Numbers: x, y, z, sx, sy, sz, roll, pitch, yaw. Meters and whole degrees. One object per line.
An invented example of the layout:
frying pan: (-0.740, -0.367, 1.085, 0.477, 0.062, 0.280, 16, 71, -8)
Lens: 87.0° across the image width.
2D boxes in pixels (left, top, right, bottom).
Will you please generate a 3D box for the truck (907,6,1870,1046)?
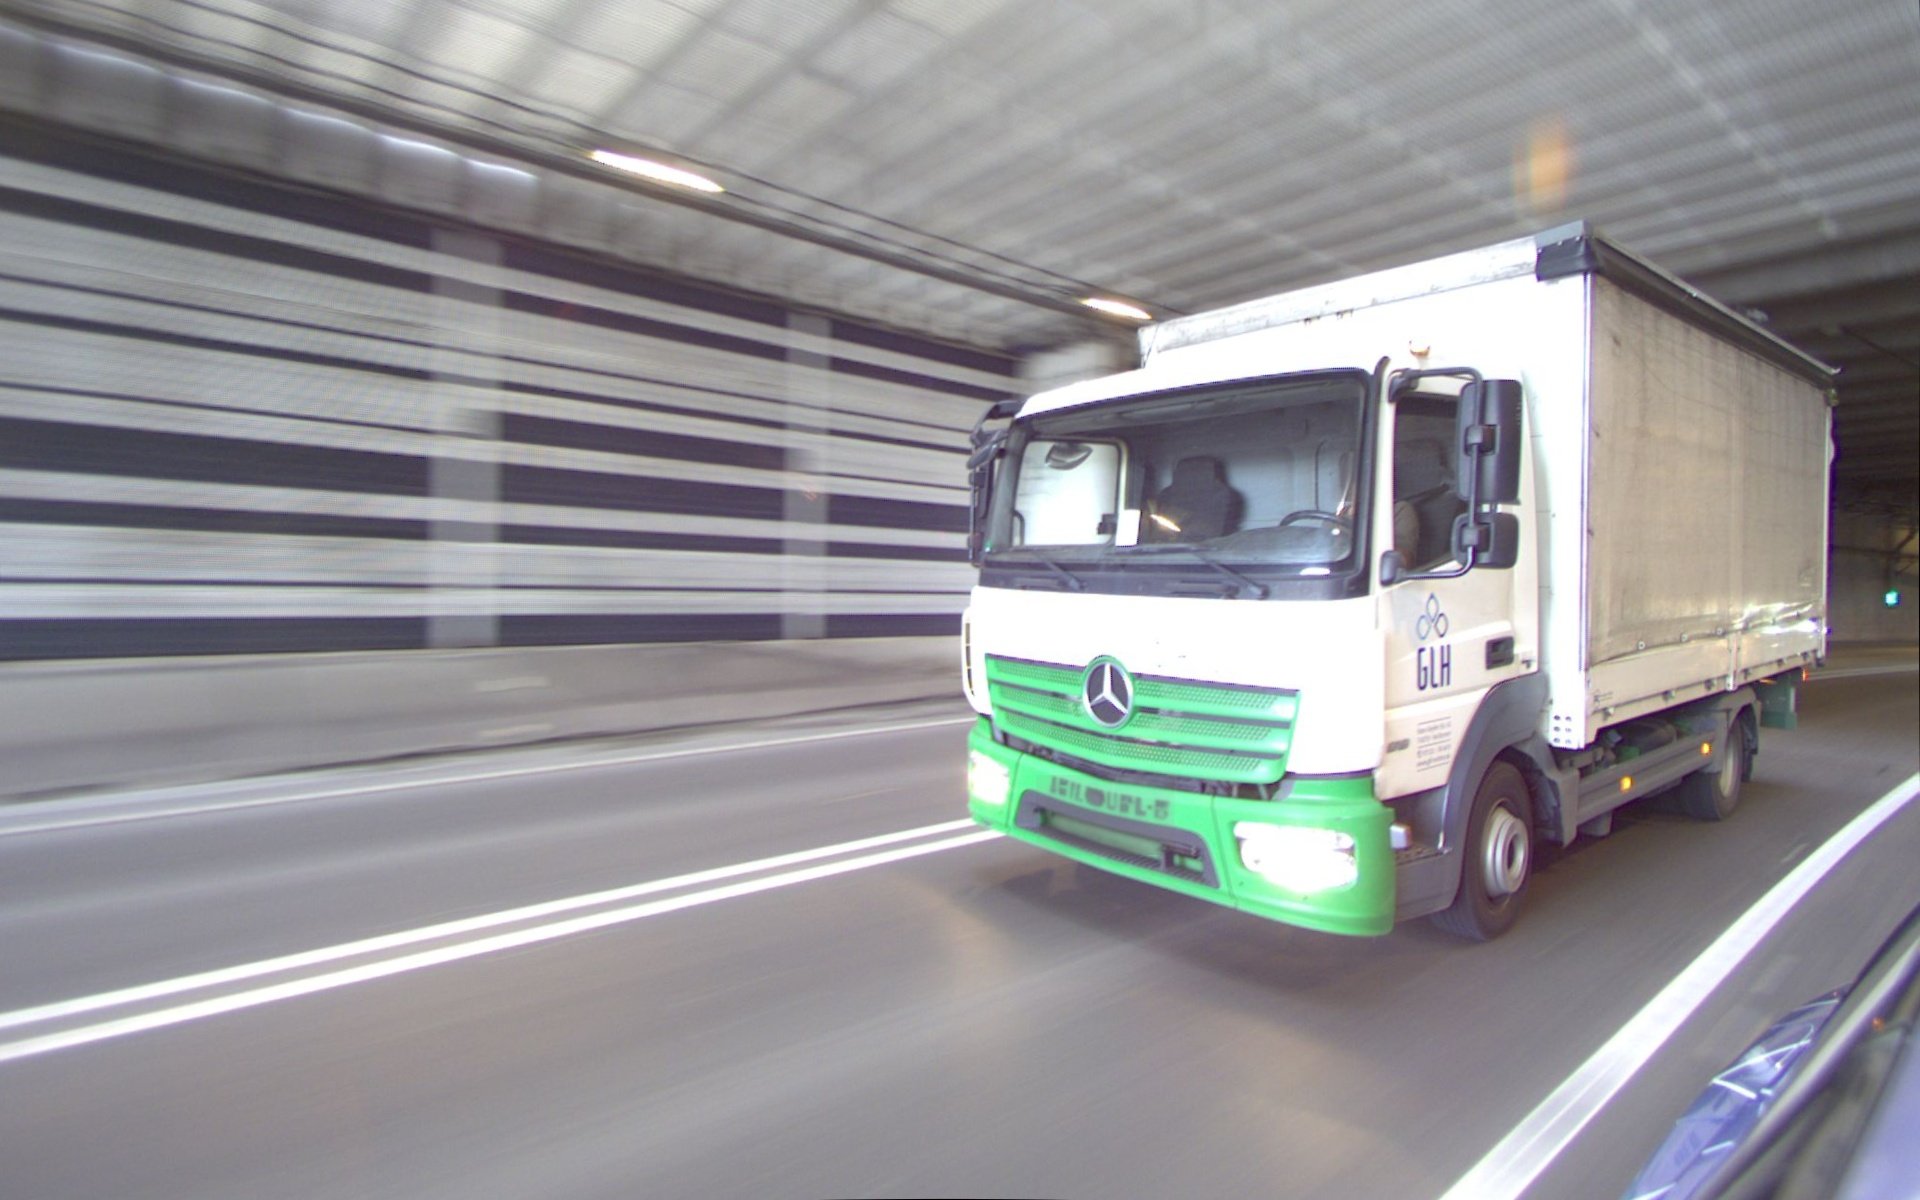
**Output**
truck: (3.375, -0.261, 6.538, 7.282, 3.279, 2.636, 0, 1, -39)
